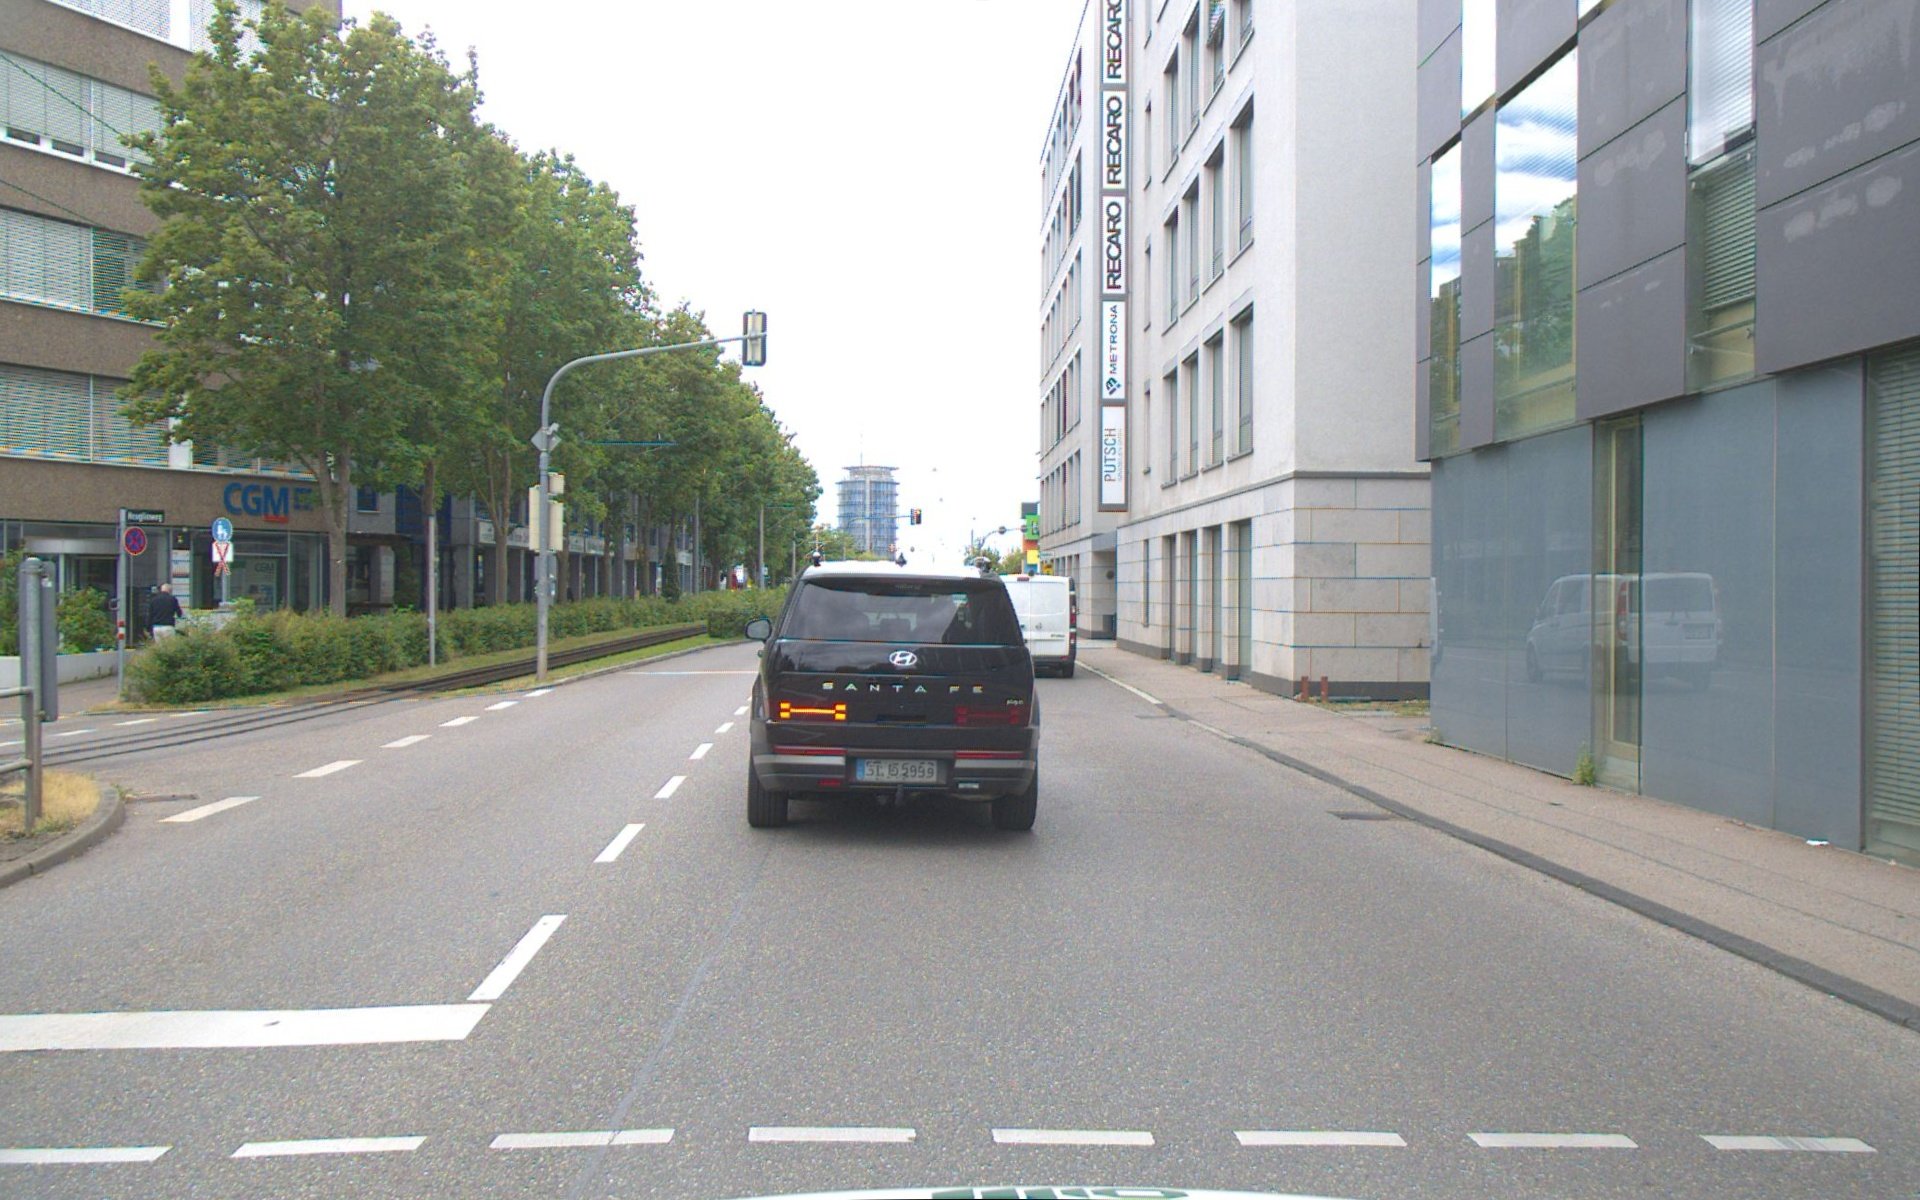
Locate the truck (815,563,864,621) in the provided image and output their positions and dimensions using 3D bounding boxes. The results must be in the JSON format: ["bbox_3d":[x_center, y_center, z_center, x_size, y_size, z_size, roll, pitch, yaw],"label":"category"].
[{"bbox_3d":[-5.755,-0.369,79.698,2.122,2.661,5.793,0,0,-2],"label":"truck"}]

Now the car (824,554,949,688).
[{"bbox_3d":[-1.305,0.313,27.474,1.894,2.029,4.530,1,0,-5],"label":"car"}]

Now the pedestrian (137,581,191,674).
[{"bbox_3d":[-15.096,0.513,31.362,0.673,1.735,0.682,-1,0,0],"label":"pedestrian"}]

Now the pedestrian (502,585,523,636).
[{"bbox_3d":[-18.159,0.410,67.109,0.667,2.049,0.570,0,0,-2],"label":"pedestrian"}]

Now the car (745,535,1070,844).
[{"bbox_3d":[-0.512,0.539,11.841,1.872,1.780,4.391,1,0,-6],"label":"car"}]

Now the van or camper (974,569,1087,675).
[{"bbox_3d":[1.352,0.403,33.397,1.953,1.949,4.330,1,0,-1],"label":"van or camper"}]
